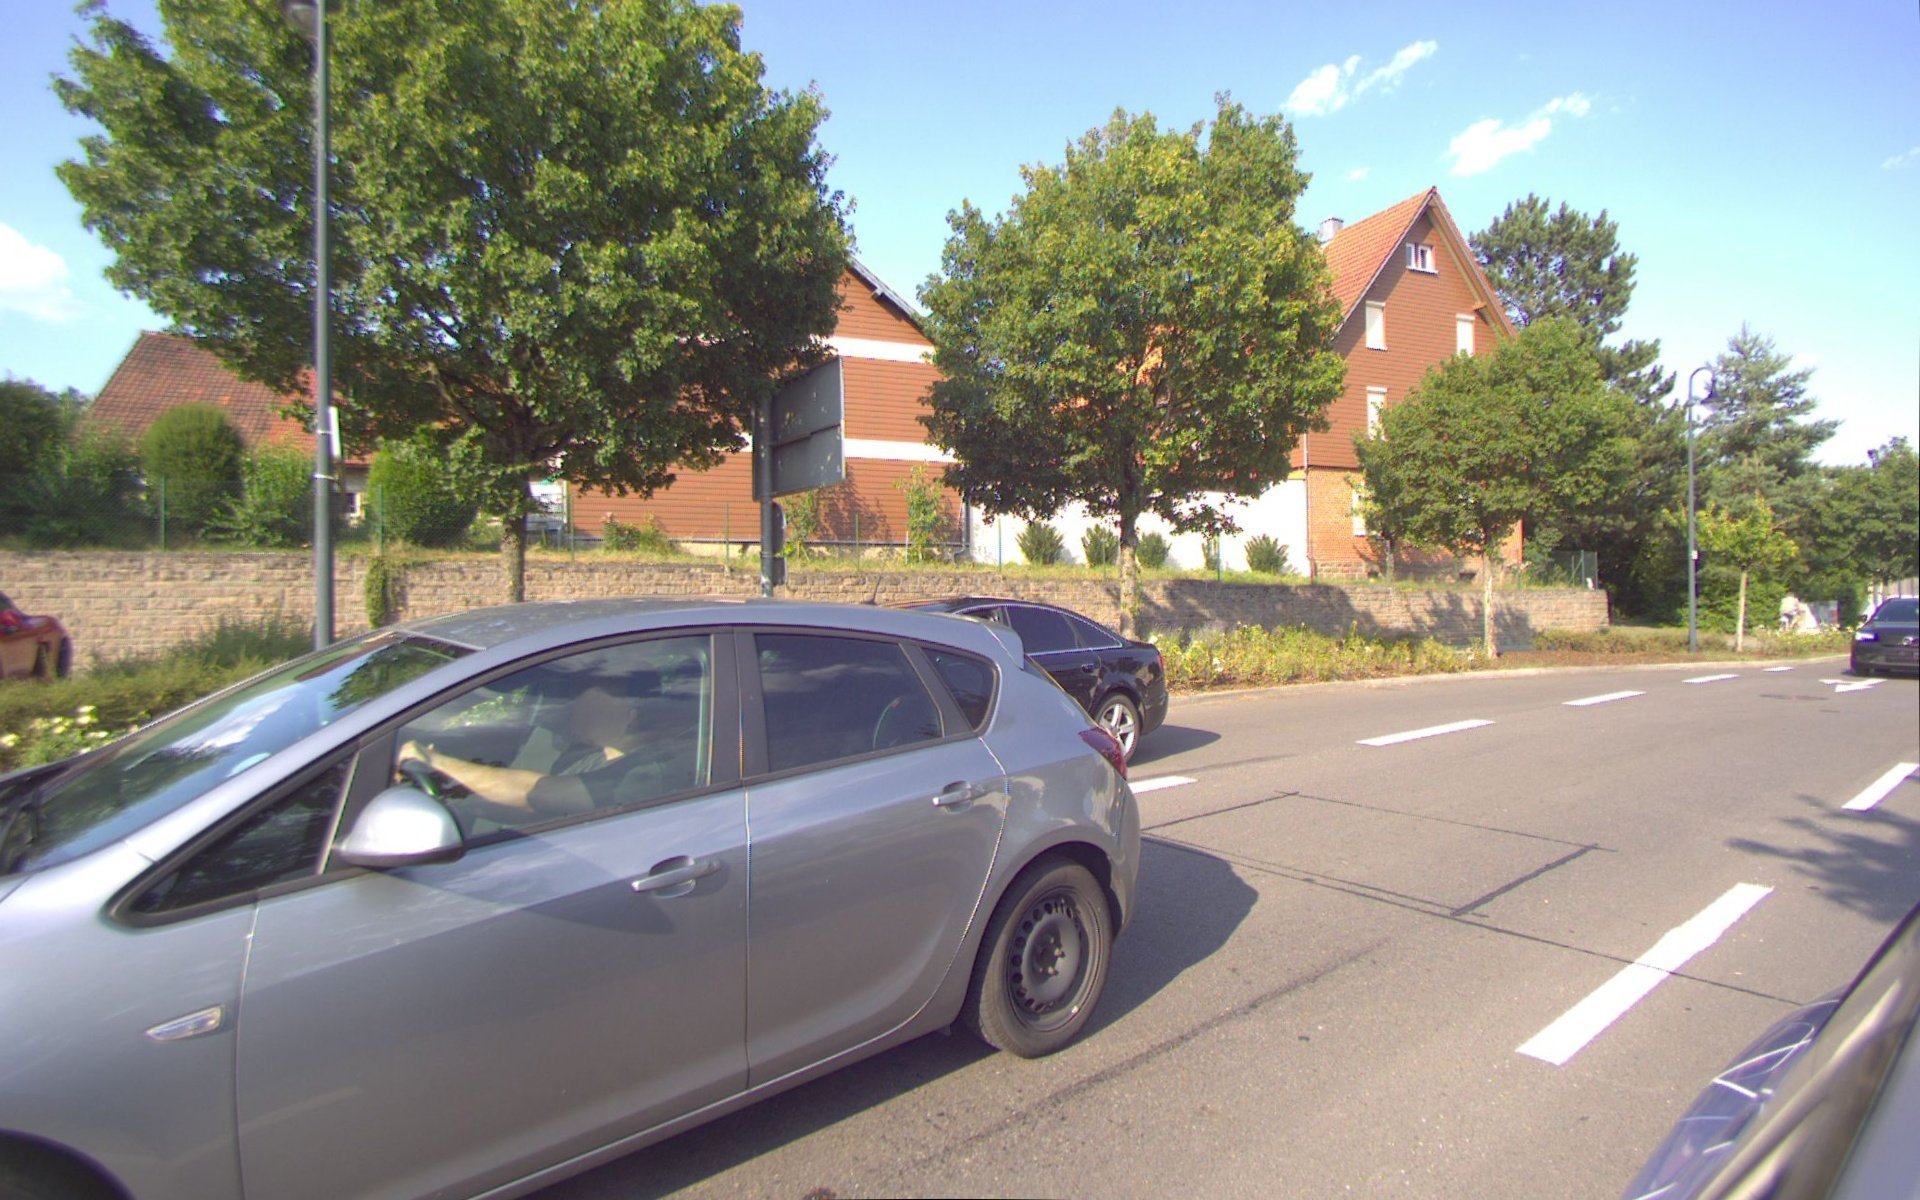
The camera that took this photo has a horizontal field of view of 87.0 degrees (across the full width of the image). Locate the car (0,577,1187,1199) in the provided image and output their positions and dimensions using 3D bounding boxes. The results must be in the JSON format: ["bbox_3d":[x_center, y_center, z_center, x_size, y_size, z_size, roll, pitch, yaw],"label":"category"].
[{"bbox_3d":[-1.286,0.682,2.922,4.095,1.460,1.746,0,0,-42],"label":"car"}]

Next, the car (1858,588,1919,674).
[{"bbox_3d":[19.804,0.576,20.491,4.055,1.629,1.885,0,0,-40],"label":"car"}]

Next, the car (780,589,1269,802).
[{"bbox_3d":[0.783,0.631,9.043,4.509,1.453,1.684,0,0,-41],"label":"car"}]

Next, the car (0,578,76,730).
[{"bbox_3d":[-9.264,0.462,8.703,1.817,1.288,4.003,0,0,-31],"label":"car"}]

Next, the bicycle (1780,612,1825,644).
[{"bbox_3d":[28.424,0.919,34.139,1.838,1.031,0.523,0,0,-28],"label":"bicycle"}]

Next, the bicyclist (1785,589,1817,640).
[{"bbox_3d":[28.346,0.493,34.111,0.719,1.699,0.605,0,0,-28],"label":"bicyclist"}]
